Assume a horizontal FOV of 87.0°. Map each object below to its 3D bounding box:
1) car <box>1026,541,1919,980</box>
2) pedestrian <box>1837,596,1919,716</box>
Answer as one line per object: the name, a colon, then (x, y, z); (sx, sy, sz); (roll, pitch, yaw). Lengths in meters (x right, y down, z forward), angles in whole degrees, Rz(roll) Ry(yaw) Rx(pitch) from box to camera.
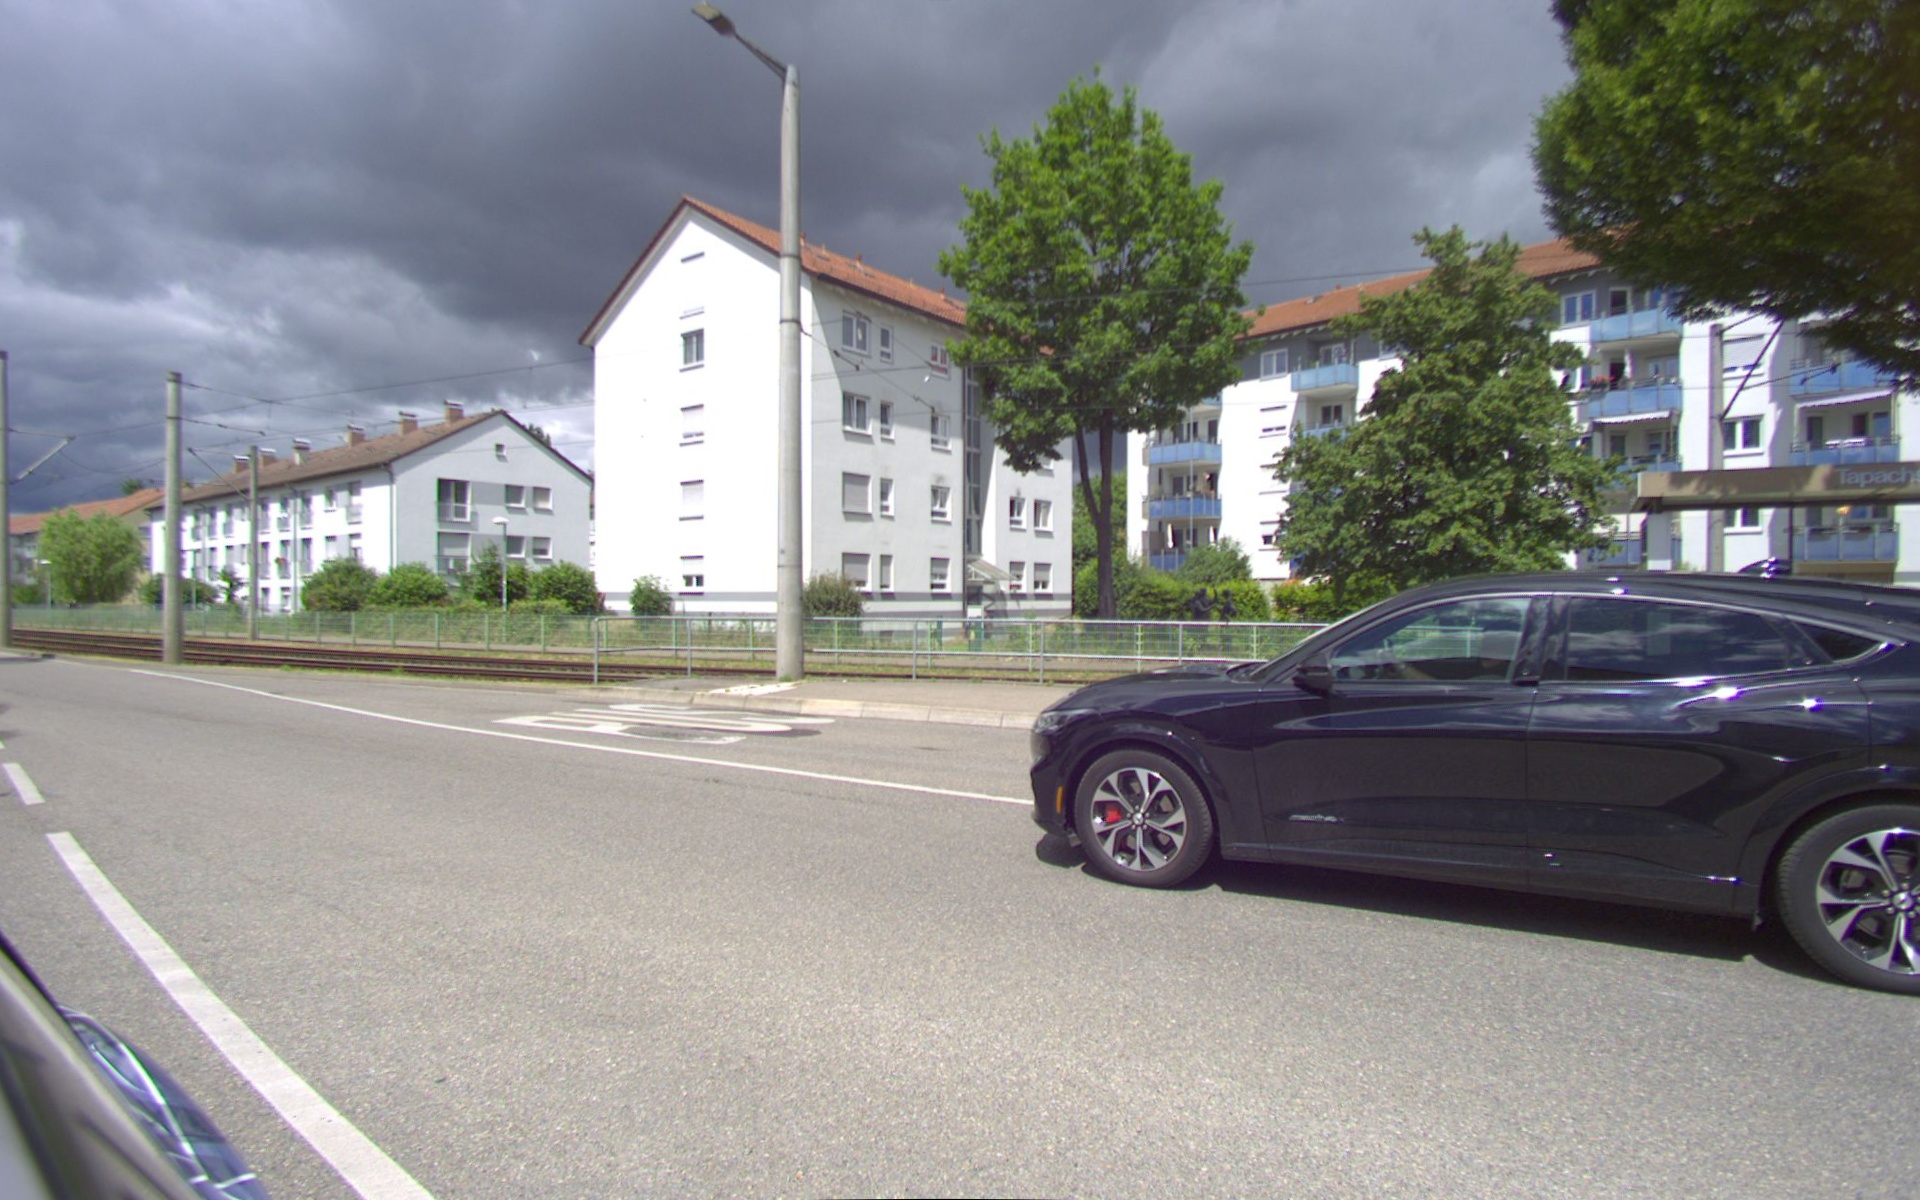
car: (2.781, 0.580, 5.061); (4.508, 1.537, 1.979); (-1, -1, 31)
pedestrian: (9.436, 0.540, 10.103); (0.909, 1.144, 0.792); (0, 0, 33)
